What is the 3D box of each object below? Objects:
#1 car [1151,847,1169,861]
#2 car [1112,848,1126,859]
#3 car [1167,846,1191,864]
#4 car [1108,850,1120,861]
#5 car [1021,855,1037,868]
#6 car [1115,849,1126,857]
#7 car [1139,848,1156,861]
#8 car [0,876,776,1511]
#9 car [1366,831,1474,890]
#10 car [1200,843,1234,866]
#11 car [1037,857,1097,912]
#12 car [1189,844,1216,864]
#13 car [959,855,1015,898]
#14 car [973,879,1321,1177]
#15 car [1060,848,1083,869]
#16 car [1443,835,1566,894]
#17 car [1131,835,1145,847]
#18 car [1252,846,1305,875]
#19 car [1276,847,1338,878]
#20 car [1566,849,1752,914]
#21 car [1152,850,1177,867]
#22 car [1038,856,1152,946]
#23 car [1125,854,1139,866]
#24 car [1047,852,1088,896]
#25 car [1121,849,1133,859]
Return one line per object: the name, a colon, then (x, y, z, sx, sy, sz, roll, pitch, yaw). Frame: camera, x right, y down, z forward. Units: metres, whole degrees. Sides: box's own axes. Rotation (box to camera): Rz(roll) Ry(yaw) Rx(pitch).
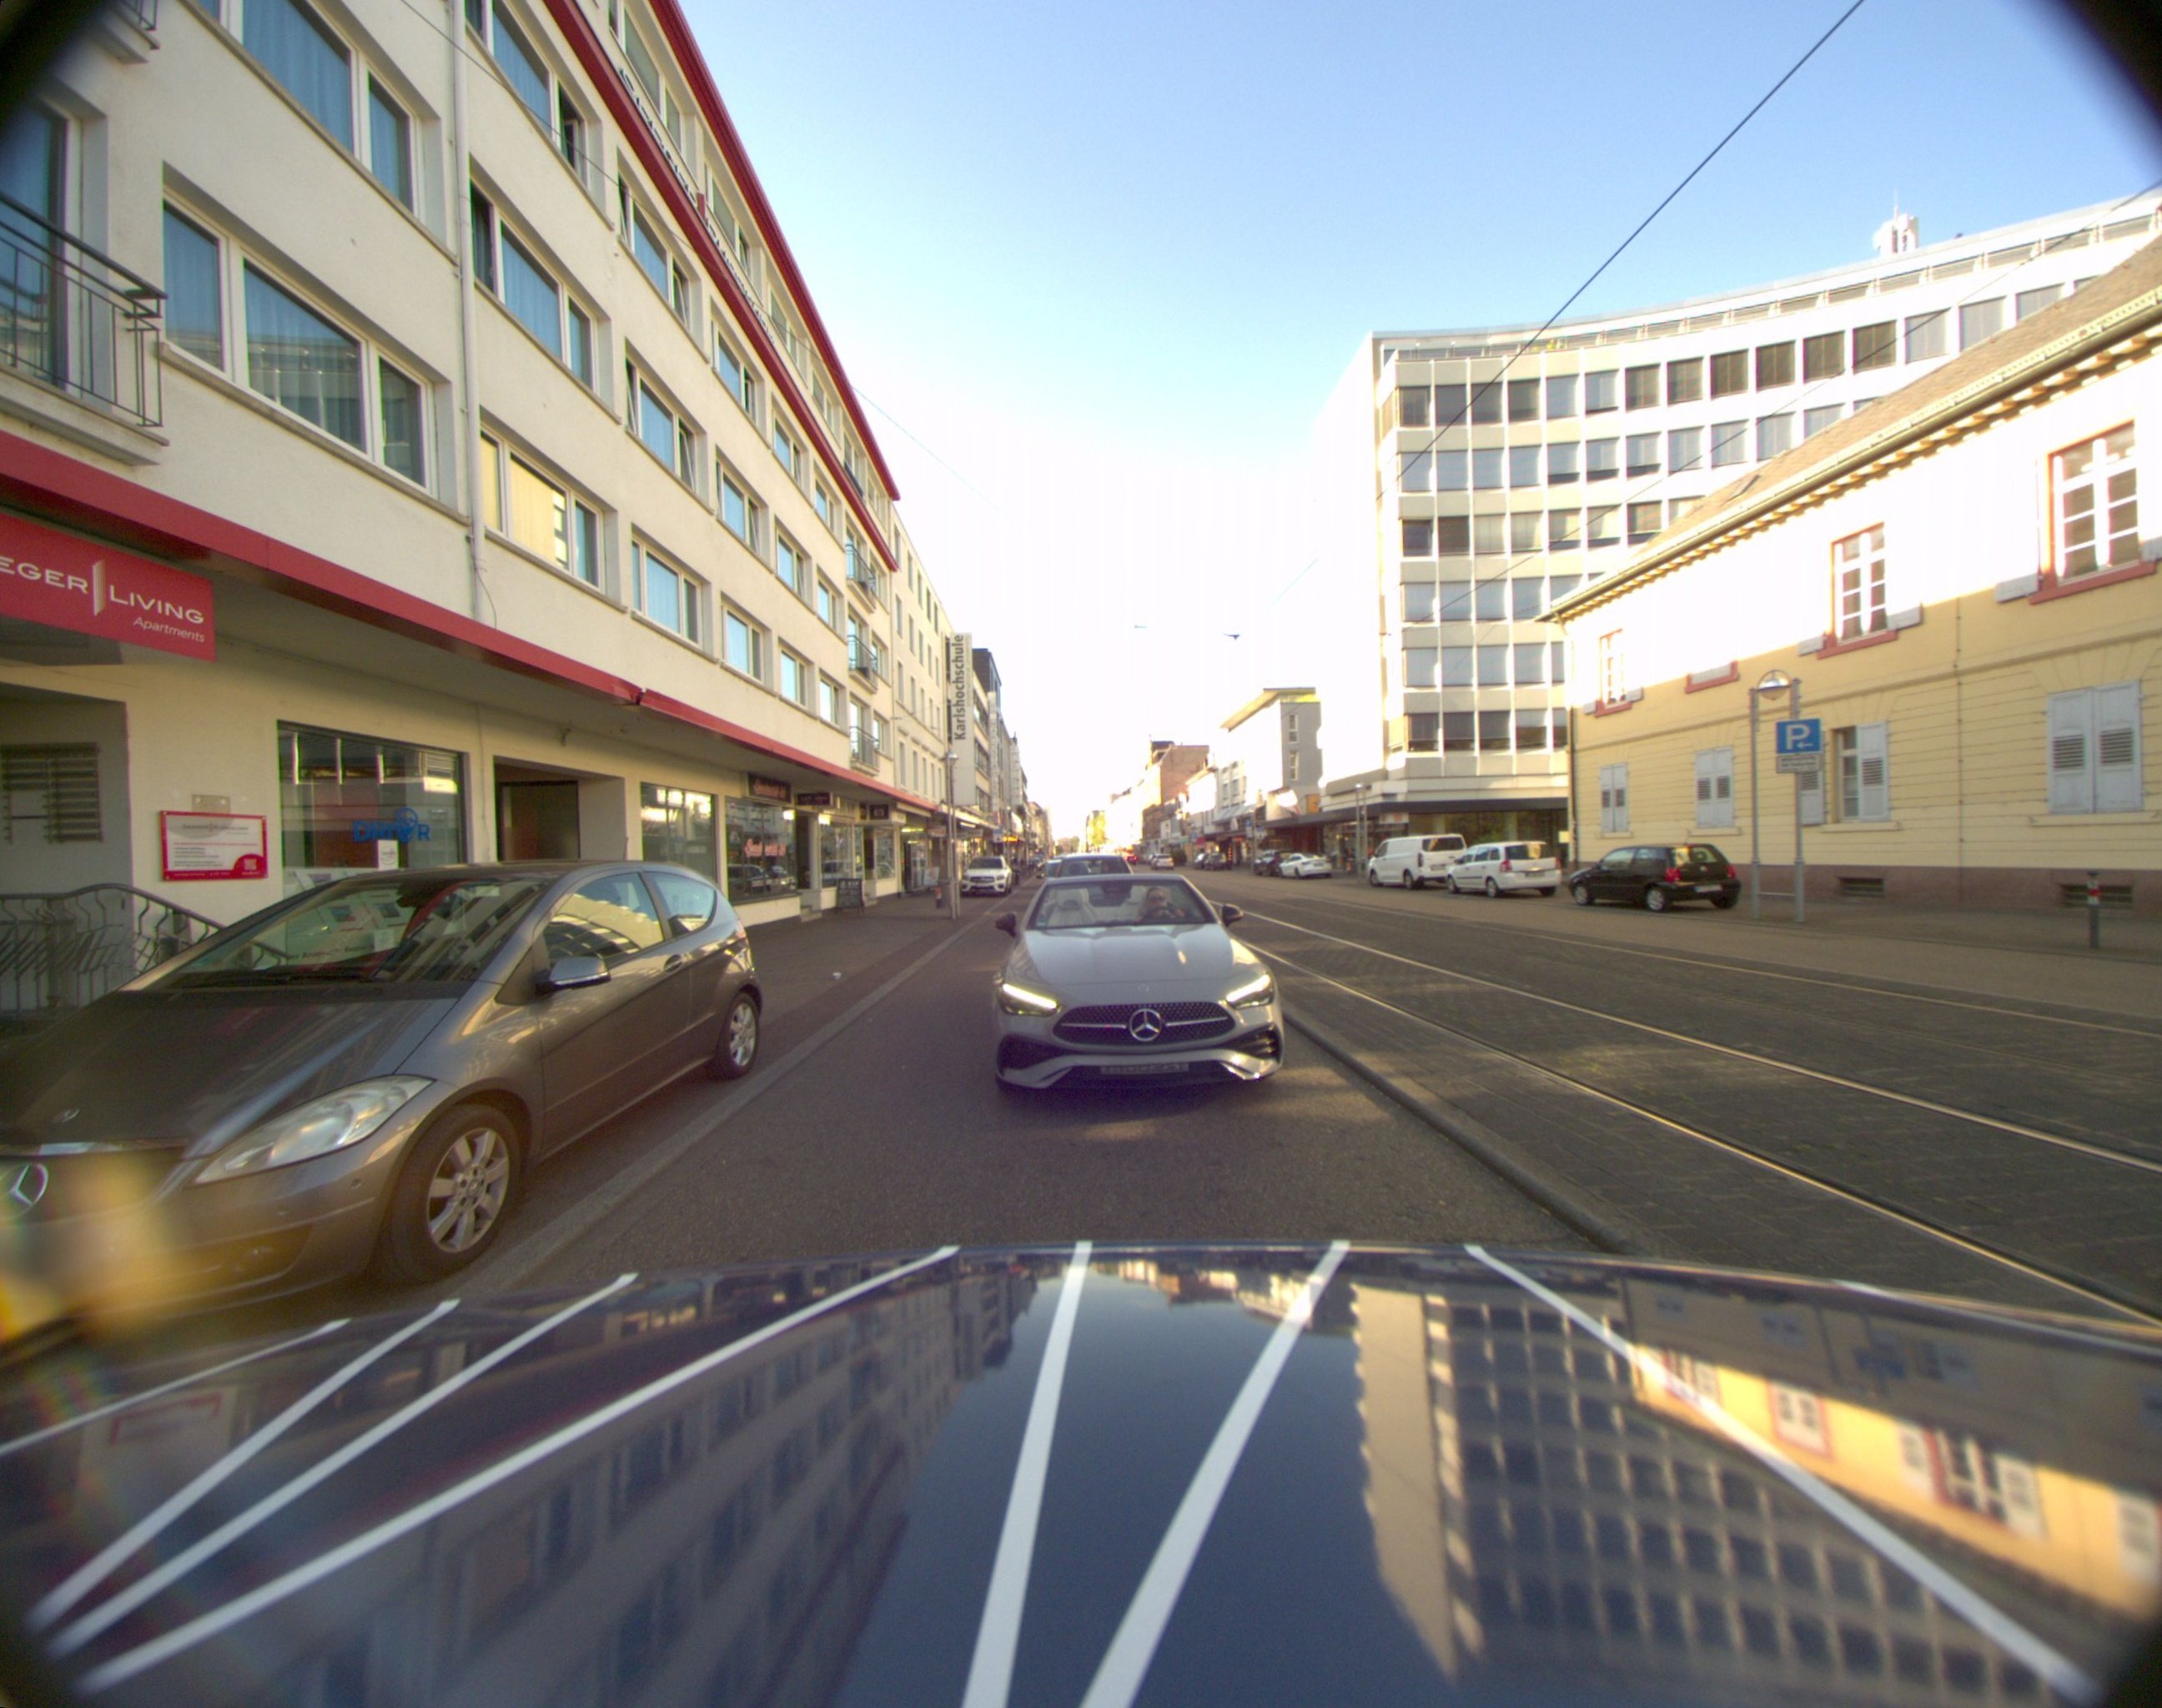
car: (11.539, -0.054, 111.428, 1.999, 2.002, 3.998, -2, 1, -2)
car: (6.693, -0.095, 133.997, 1.914, 1.883, 3.855, -2, 1, -2)
car: (11.673, 0.145, 90.503, 2.200, 2.030, 3.999, -1, 0, -1)
car: (6.562, 0.330, 150.663, 1.999, 2.002, 3.998, -2, 1, -2)
car: (-5.983, 0.859, 87.806, 1.714, 1.430, 3.756, -2, 1, -1)
car: (9.070, -0.262, 176.653, 2.148, 1.850, 3.998, -2, 1, -2)
car: (10.722, 0.019, 122.219, 1.999, 2.002, 5.320, -1, 0, -2)
car: (-3.232, 0.964, 3.964, 1.683, 1.537, 3.999, -2, 0, -1)
car: (12.680, 0.234, 28.793, 2.040, 2.002, 4.621, -1, 0, 1)
car: (11.669, 0.027, 65.584, 1.999, 1.849, 3.998, -2, 1, -2)
car: (-0.456, 0.894, 23.693, 1.648, 1.506, 3.844, -2, 0, -2)
car: (11.789, -0.040, 74.109, 1.789, 1.870, 3.999, -1, 0, -2)
car: (-3.848, 0.891, 31.724, 1.999, 1.620, 3.998, -1, 0, -4)
car: (0.238, 1.011, 6.172, 1.884, 1.375, 3.998, -2, 1, -4)
car: (-0.864, 0.407, 70.716, 1.999, 1.793, 3.999, -2, 1, -1)
car: (12.738, 0.272, 23.146, 1.641, 1.600, 4.005, -2, 1, 3)
car: (10.087, -2.229, 134.740, 1.999, 2.002, 3.998, -2, 1, -3)
car: (12.328, 0.366, 47.689, 1.999, 1.694, 4.107, -3, 1, -2)
car: (12.501, 0.429, 42.262, 1.999, 1.521, 4.373, -2, 1, -1)
car: (12.808, 0.543, 17.088, 1.688, 1.246, 3.212, -2, 1, -1)
car: (7.962, 0.424, 72.735, 1.760, 1.587, 3.999, -1, 0, -2)
car: (0.143, 0.835, 15.575, 1.927, 1.533, 3.998, -2, 0, -4)
car: (7.385, 0.871, 110.462, 1.964, 1.499, 4.000, -2, 1, 4)
car: (-0.584, 0.794, 32.112, 1.573, 1.670, 3.688, -2, 1, -1)
car: (9.549, -0.037, 157.300, 1.999, 2.002, 3.999, -1, 0, -2)
